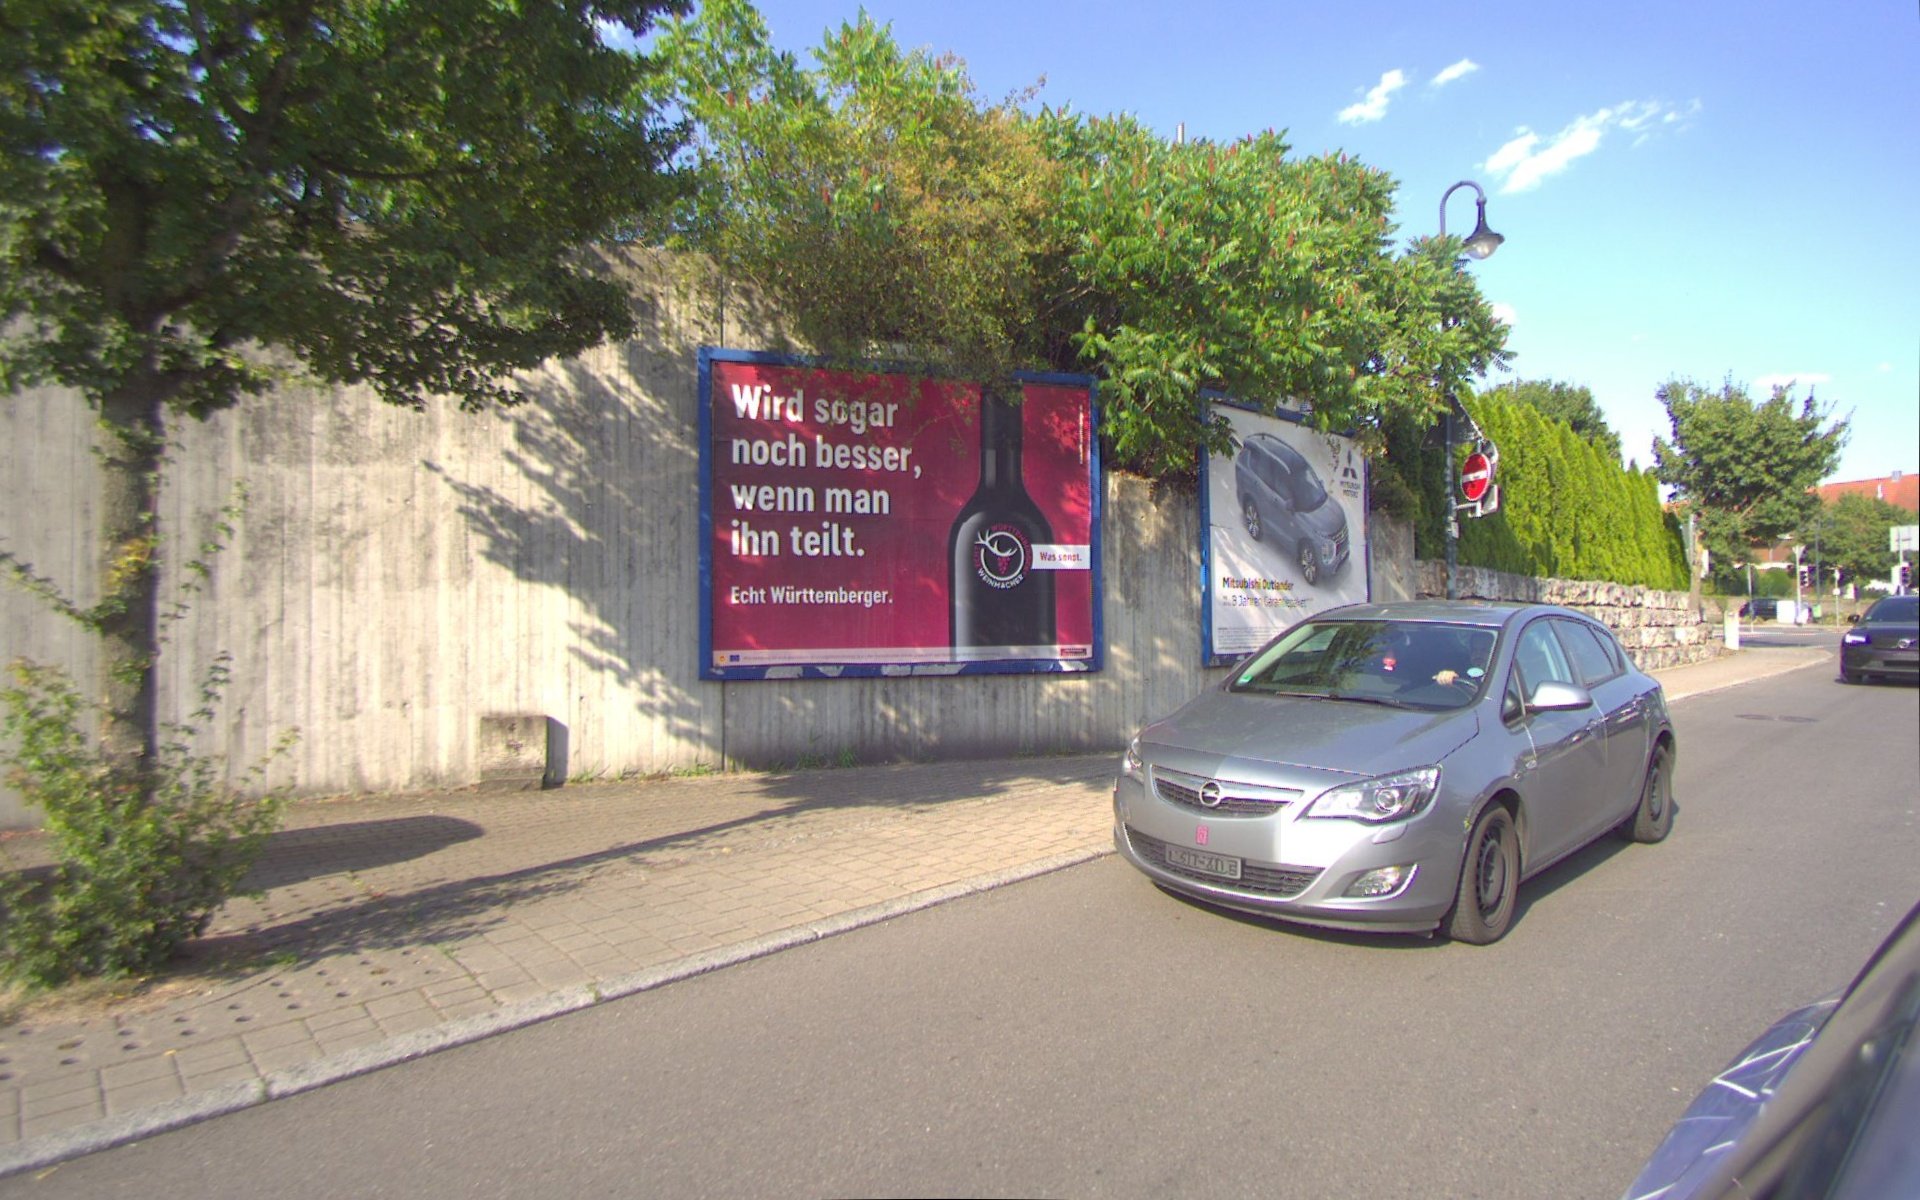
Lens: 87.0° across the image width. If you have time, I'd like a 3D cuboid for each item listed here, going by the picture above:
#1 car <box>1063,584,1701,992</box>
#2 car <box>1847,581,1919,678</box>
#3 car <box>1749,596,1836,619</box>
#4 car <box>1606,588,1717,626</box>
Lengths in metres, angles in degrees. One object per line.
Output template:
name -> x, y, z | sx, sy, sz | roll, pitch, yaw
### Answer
car -> 2.562, 0.674, 5.588 | 4.072, 1.440, 1.650 | 1, 0, -42
car -> 17.703, 0.511, 18.312 | 3.982, 1.626, 1.792 | 1, -1, -38
car -> 54.292, 0.484, 66.103 | 1.644, 1.475, 4.086 | 0, -1, -25
car -> 31.168, 0.275, 45.024 | 1.571, 1.561, 3.793 | 0, 2, -41
